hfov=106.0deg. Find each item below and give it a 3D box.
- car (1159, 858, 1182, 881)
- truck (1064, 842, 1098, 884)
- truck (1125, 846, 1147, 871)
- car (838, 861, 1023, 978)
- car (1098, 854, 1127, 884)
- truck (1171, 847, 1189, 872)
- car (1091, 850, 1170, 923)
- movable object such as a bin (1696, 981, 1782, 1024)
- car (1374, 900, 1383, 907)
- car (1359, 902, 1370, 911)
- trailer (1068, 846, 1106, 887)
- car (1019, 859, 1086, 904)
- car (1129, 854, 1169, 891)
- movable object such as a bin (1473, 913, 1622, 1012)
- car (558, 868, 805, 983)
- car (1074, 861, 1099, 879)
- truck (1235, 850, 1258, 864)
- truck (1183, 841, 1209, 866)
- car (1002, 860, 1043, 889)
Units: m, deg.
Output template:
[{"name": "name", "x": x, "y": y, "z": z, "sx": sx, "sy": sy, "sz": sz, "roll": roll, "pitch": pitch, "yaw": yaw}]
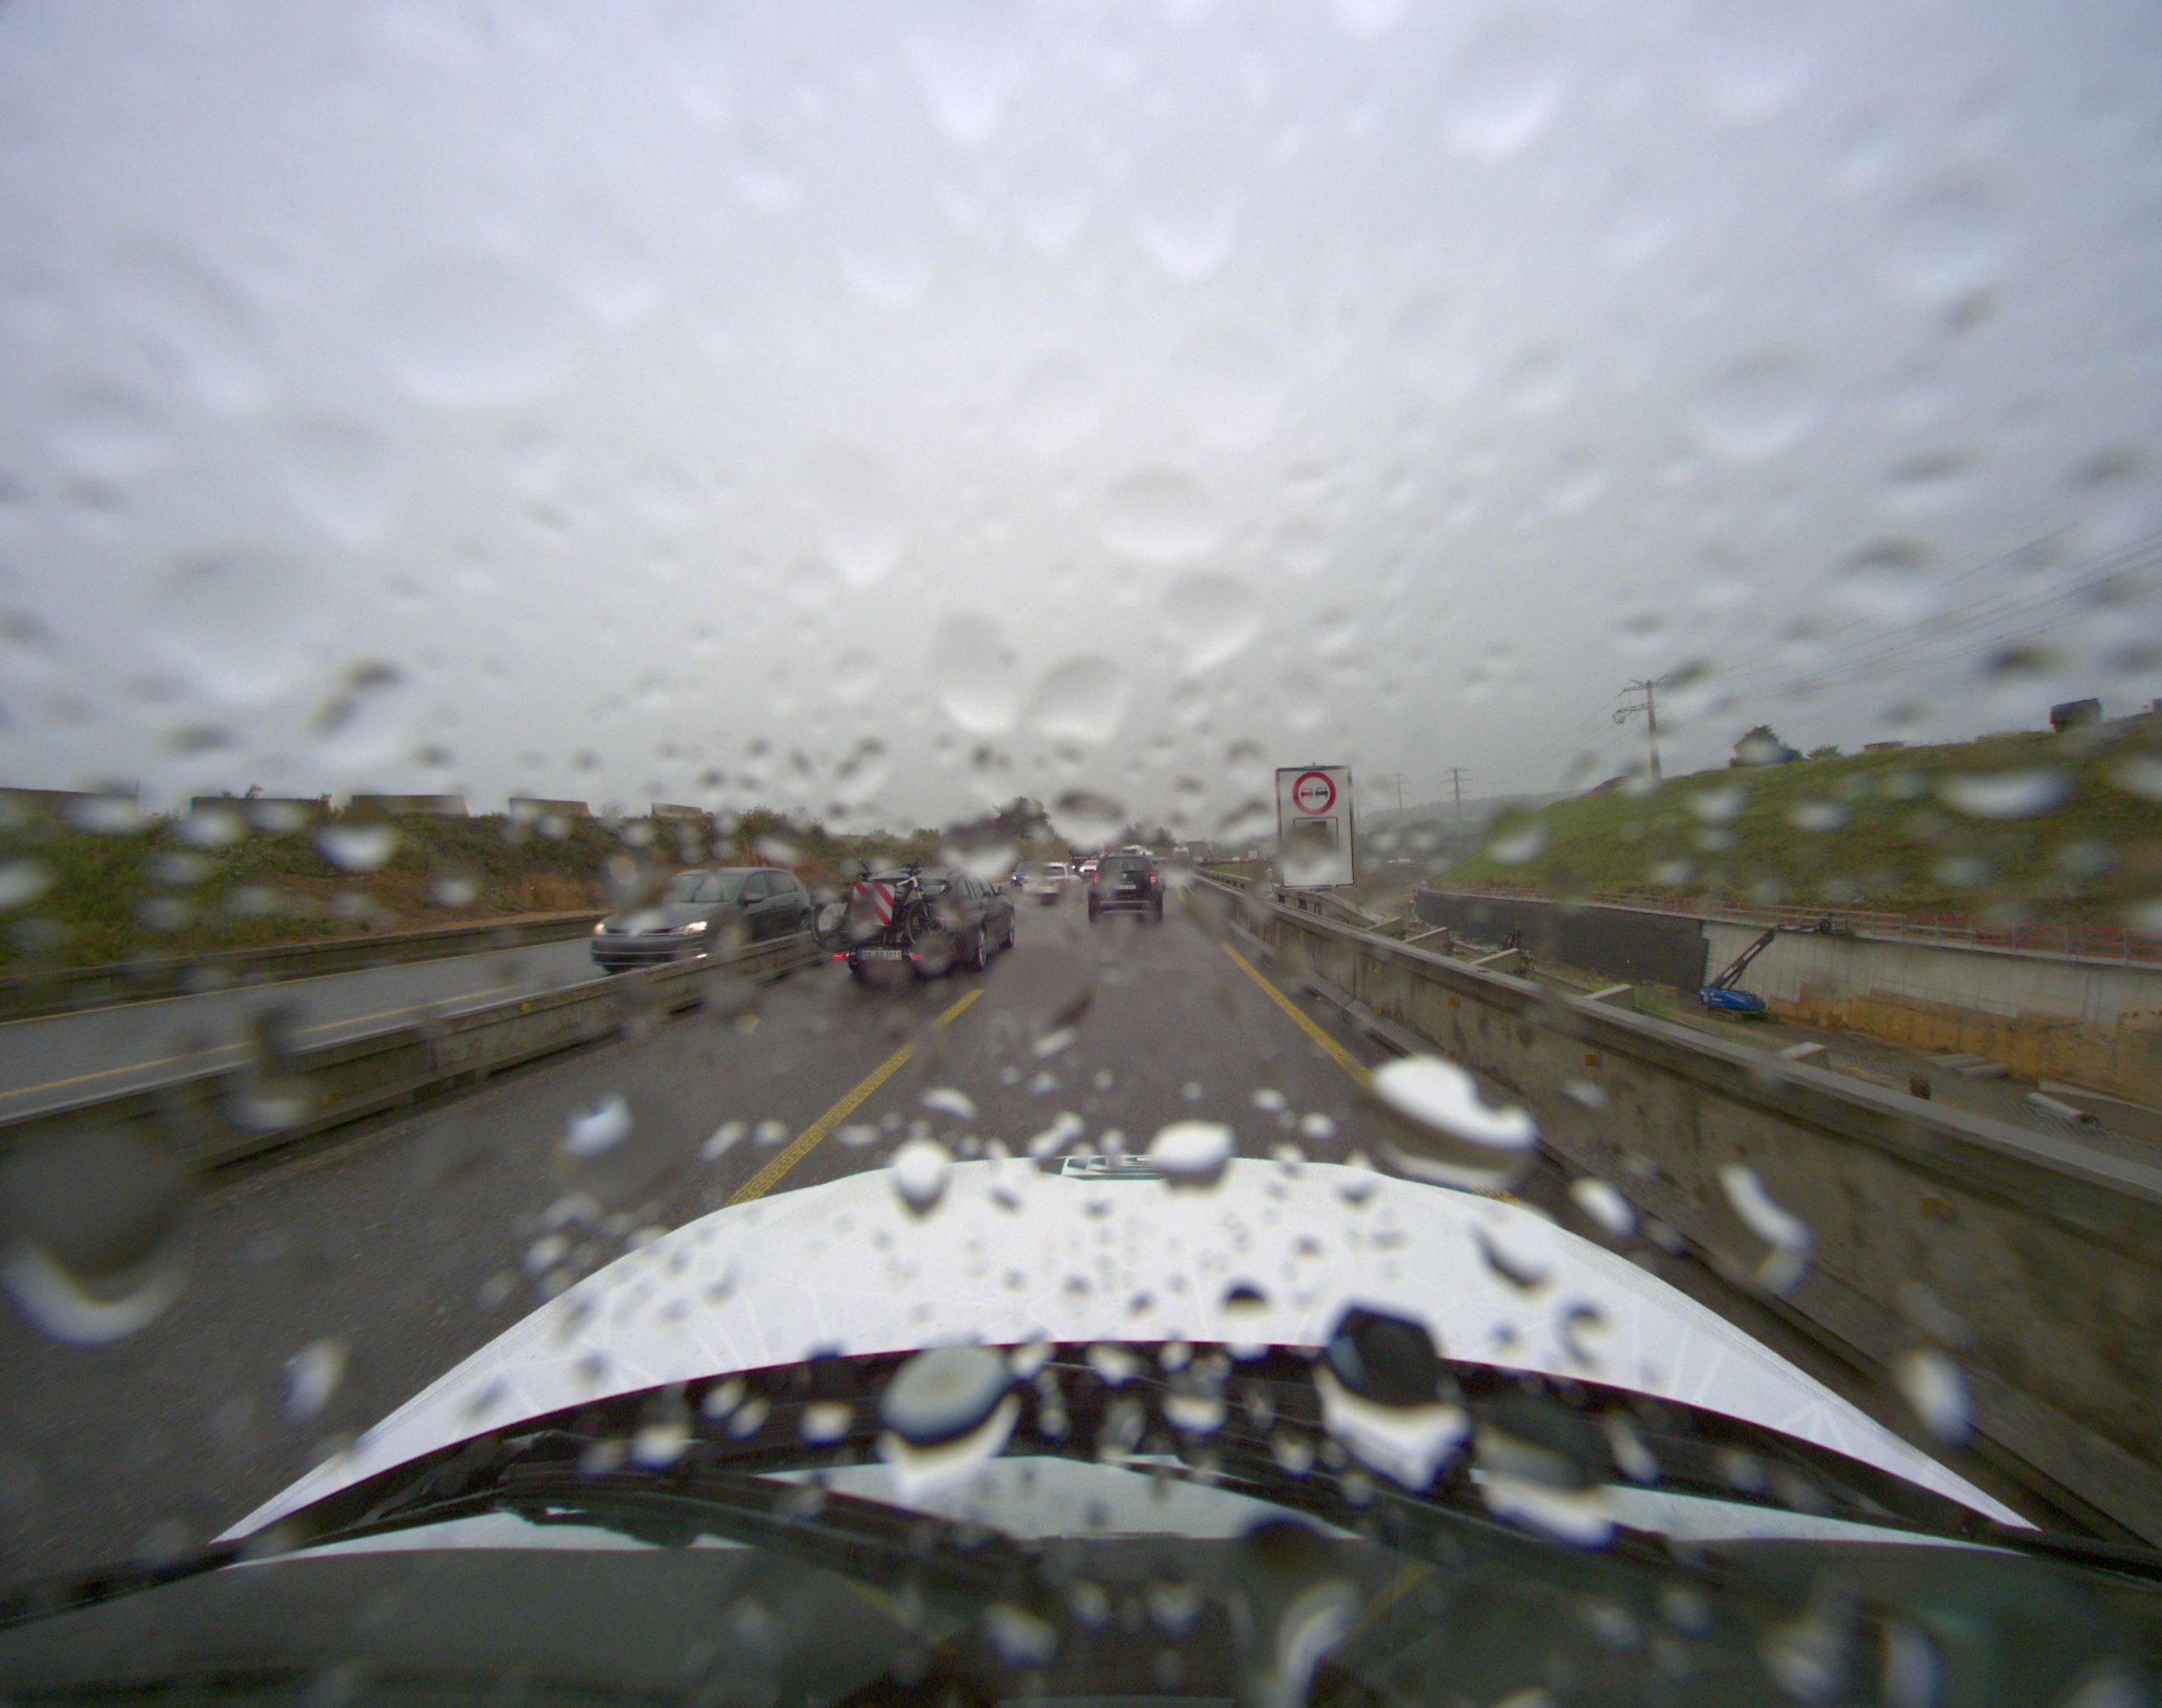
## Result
[{"name": "car", "x": 6.655, "y": 1.107, "z": 60.627, "sx": 1.522, "sy": 1.640, "sz": 4.022, "roll": -1, "pitch": -1, "yaw": 8}, {"name": "truck", "x": 0.101, "y": 1.018, "z": 91.975, "sx": 2.965, "sy": 4.409, "sz": 6.941, "roll": -3, "pitch": 0, "yaw": 5}, {"name": "truck", "x": 9.017, "y": 0.745, "z": 132.005, "sx": 3.215, "sy": 3.956, "sz": 5.891, "roll": -2, "pitch": -1, "yaw": 6}, {"name": "car", "x": -2.099, "y": 0.875, "z": 12.449, "sx": 1.820, "sy": 1.476, "sz": 3.781, "roll": -2, "pitch": -1, "yaw": 4}, {"name": "car", "x": 2.148, "y": 0.981, "z": 54.708, "sx": 1.652, "sy": 1.880, "sz": 4.026, "roll": 0, "pitch": -1, "yaw": 6}, {"name": "truck", "x": 12.750, "y": 0.733, "z": 104.497, "sx": 2.137, "sy": 3.166, "sz": 6.473, "roll": 0, "pitch": -1, "yaw": 8}, {"name": "car", "x": 1.205, "y": 0.788, "z": 20.727, "sx": 1.798, "sy": 1.646, "sz": 3.777, "roll": -1, "pitch": -1, "yaw": 2}, {"name": "movable object such as a bin", "x": 38.605, "y": 8.691, "z": 47.871, "sx": 2.505, "sy": 1.911, "sz": 3.259, "roll": 1, "pitch": -1, "yaw": 3}, {"name": "car", "x": 81.074, "y": 13.503, "z": 221.907, "sx": 1.978, "sy": 1.816, "sz": 4.018, "roll": -1, "pitch": -1, "yaw": 17}, {"name": "car", "x": 70.985, "y": 13.033, "z": 203.873, "sx": 2.348, "sy": 2.014, "sz": 4.016, "roll": -1, "pitch": -1, "yaw": 15}, {"name": "trailer", "x": 0.905, "y": 1.427, "z": 99.830, "sx": 2.980, "sy": 4.421, "sz": 15.727, "roll": -3, "pitch": 0, "yaw": 6}, {"name": "car", "x": -0.913, "y": 0.909, "z": 28.846, "sx": 1.859, "sy": 1.460, "sz": 4.554, "roll": 0, "pitch": -1, "yaw": 4}, {"name": "car", "x": 3.350, "y": 0.893, "z": 39.977, "sx": 1.859, "sy": 1.708, "sz": 4.005, "roll": -1, "pitch": -1, "yaw": 5}, {"name": "movable object such as a bin", "x": 31.566, "y": 7.094, "z": 56.134, "sx": 4.865, "sy": 5.671, "sz": 12.117, "roll": 0, "pitch": -3, "yaw": 9}, {"name": "car", "x": -5.733, "y": 0.939, "z": 12.246, "sx": 1.782, "sy": 1.426, "sz": 3.709, "roll": 0, "pitch": -1, "yaw": 2}, {"name": "car", "x": 0.527, "y": 1.392, "z": 72.370, "sx": 1.735, "sy": 1.502, "sz": 4.642, "roll": 0, "pitch": -1, "yaw": 6}, {"name": "truck", "x": 49.548, "y": 0.866, "z": 242.736, "sx": 4.679, "sy": 4.150, "sz": 15.757, "roll": -1, "pitch": -1, "yaw": 19}, {"name": "truck", "x": 18.388, "y": -0.045, "z": 129.607, "sx": 3.177, "sy": 3.761, "sz": 8.541, "roll": -1, "pitch": -1, "yaw": 14}, {"name": "car", "x": -3.103, "y": 1.059, "z": 43.786, "sx": 1.641, "sy": 1.502, "sz": 3.833, "roll": 0, "pitch": -1, "yaw": 4}]
